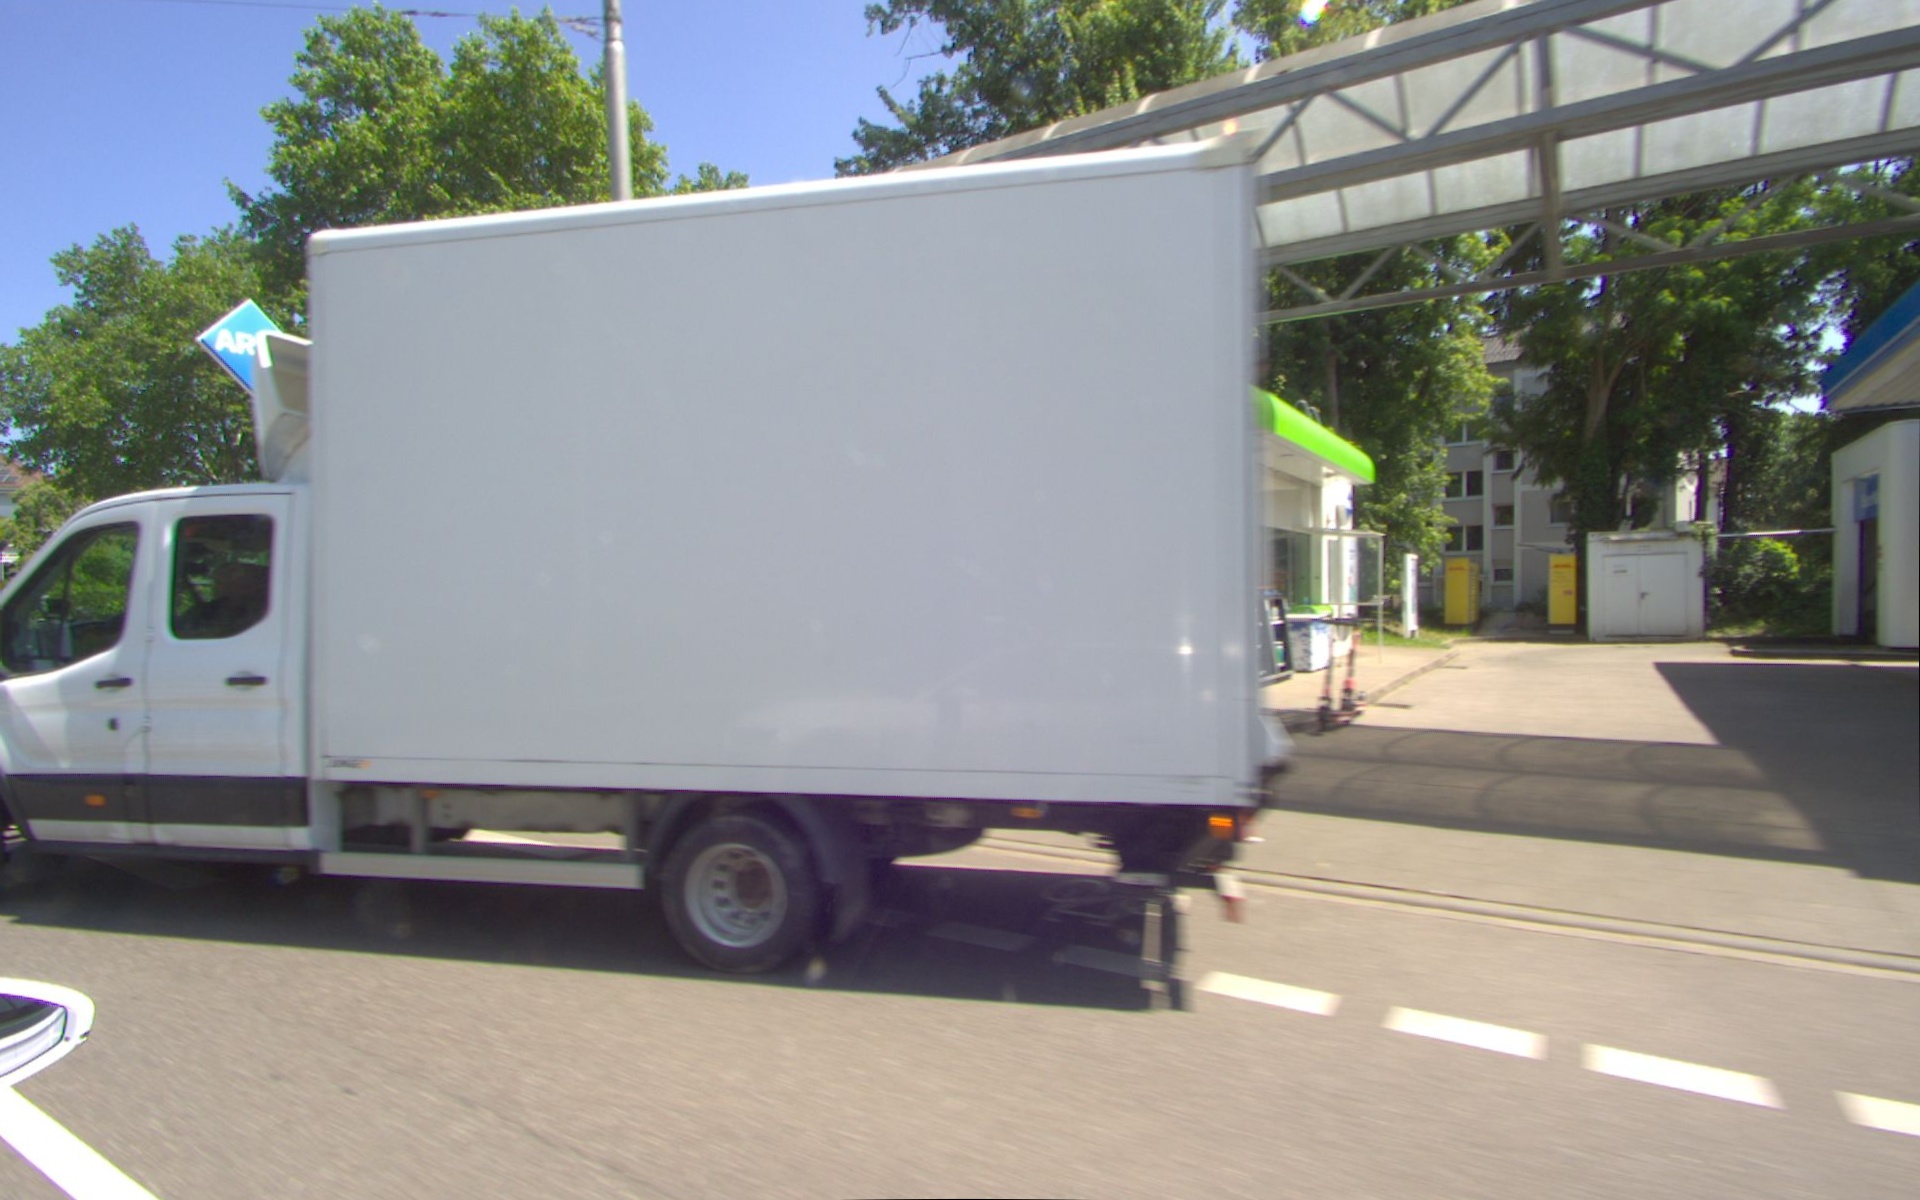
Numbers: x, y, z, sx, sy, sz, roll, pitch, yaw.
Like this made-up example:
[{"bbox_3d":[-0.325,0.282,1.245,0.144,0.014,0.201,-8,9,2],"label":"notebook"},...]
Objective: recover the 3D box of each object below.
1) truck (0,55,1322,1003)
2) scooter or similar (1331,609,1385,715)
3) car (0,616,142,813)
[{"bbox_3d":[-2.189,-0.210,5.655,7.686,3.437,2.425,0,1,13],"label":"truck"},{"bbox_3d":[4.741,0.710,11.901,0.378,1.192,1.132,0,1,33],"label":"scooter or similar"},{"bbox_3d":[-9.078,0.893,8.741,4.356,1.469,1.791,-1,0,34],"label":"car"}]
